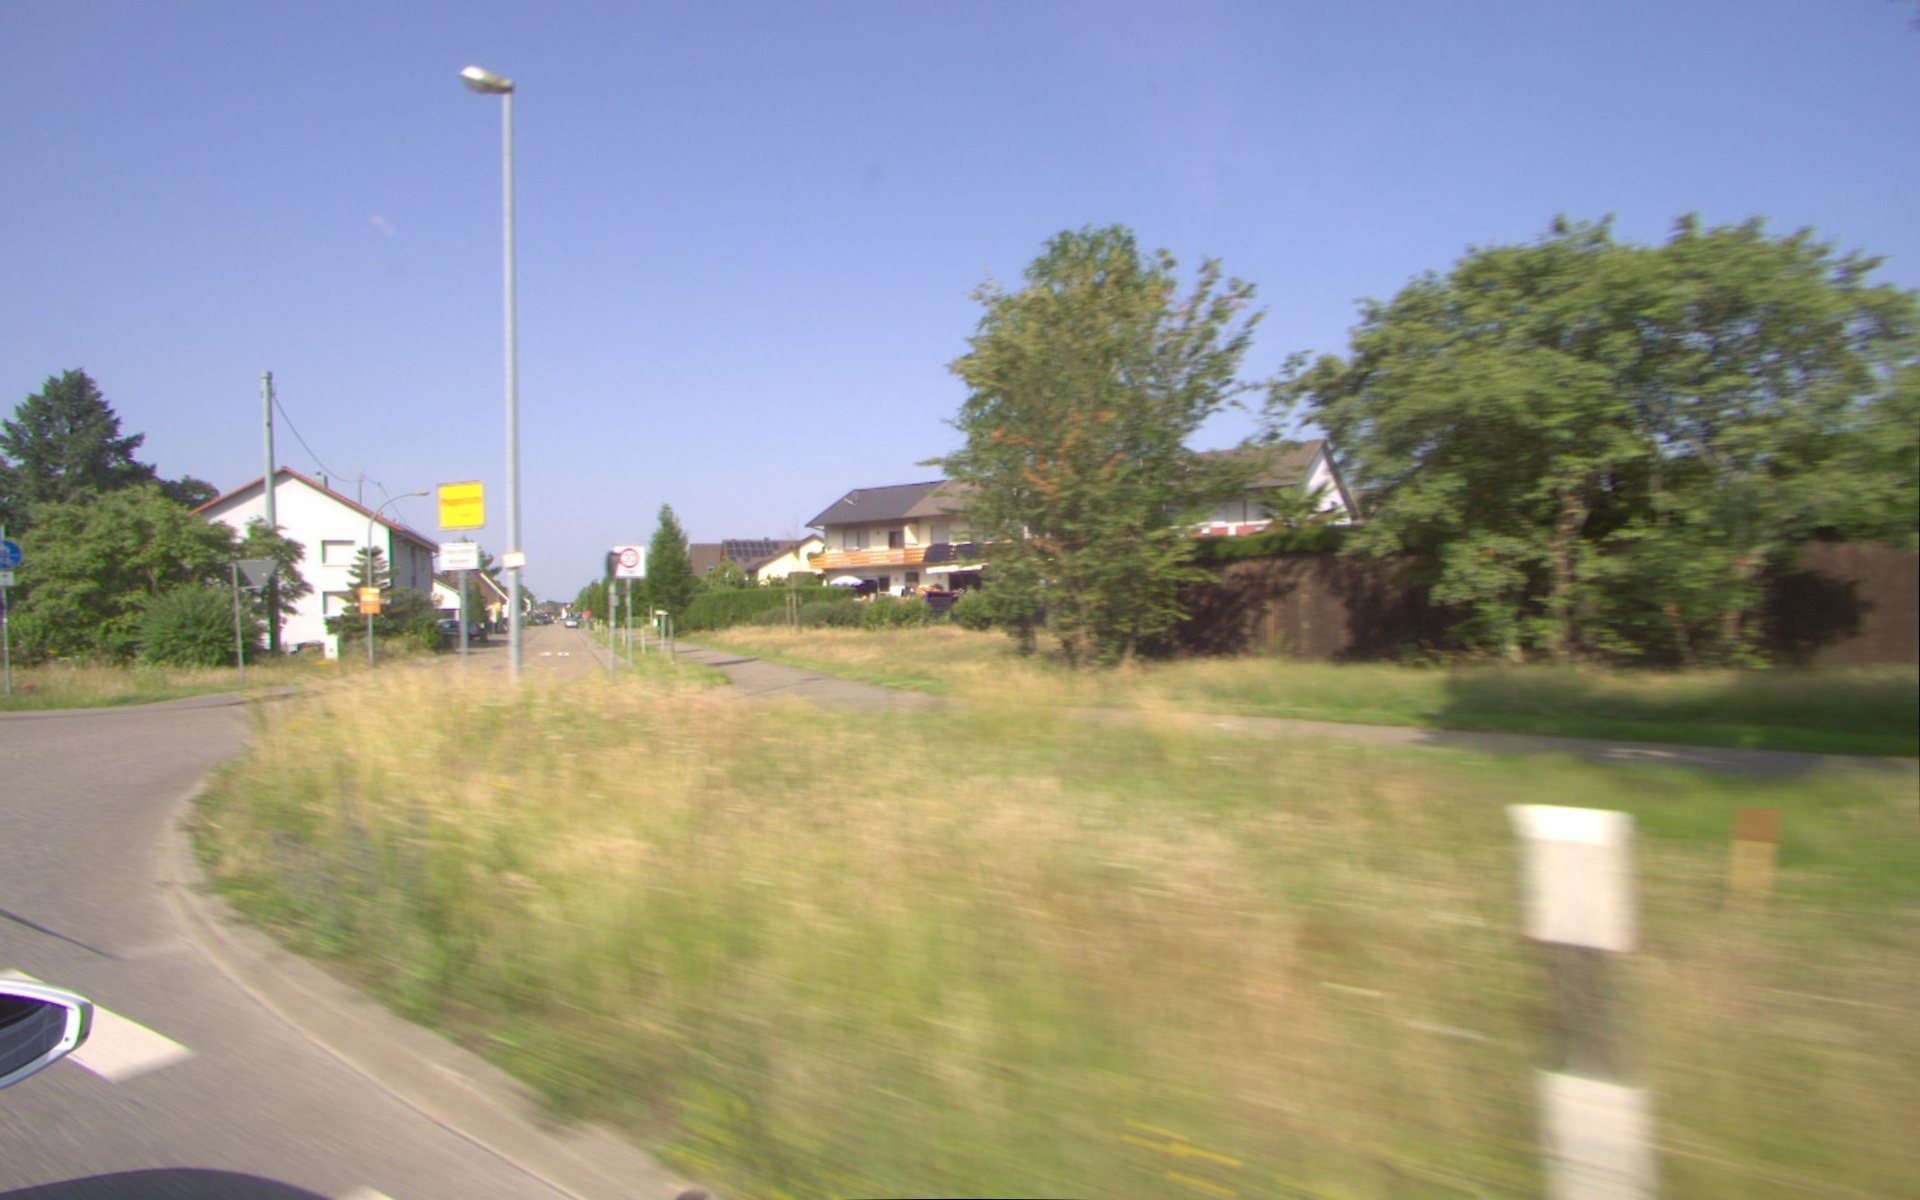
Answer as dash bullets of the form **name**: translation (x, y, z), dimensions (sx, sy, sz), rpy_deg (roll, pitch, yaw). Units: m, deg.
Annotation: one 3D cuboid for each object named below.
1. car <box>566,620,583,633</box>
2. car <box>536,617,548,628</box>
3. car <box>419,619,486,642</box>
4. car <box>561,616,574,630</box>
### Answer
- **car**: translation (-53.077, 3.641, 137.793), dimensions (1.868, 1.794, 3.986), rpy_deg (1, -2, -25)
- **car**: translation (-79.266, 4.319, 189.833), dimensions (1.969, 2.039, 3.986), rpy_deg (1, -2, -25)
- **car**: translation (-39.429, 2.383, 77.870), dimensions (4.381, 1.720, 1.768), rpy_deg (1, -2, -17)
- **car**: translation (-60.941, 3.586, 155.425), dimensions (1.758, 2.039, 3.986), rpy_deg (1, -2, -25)
